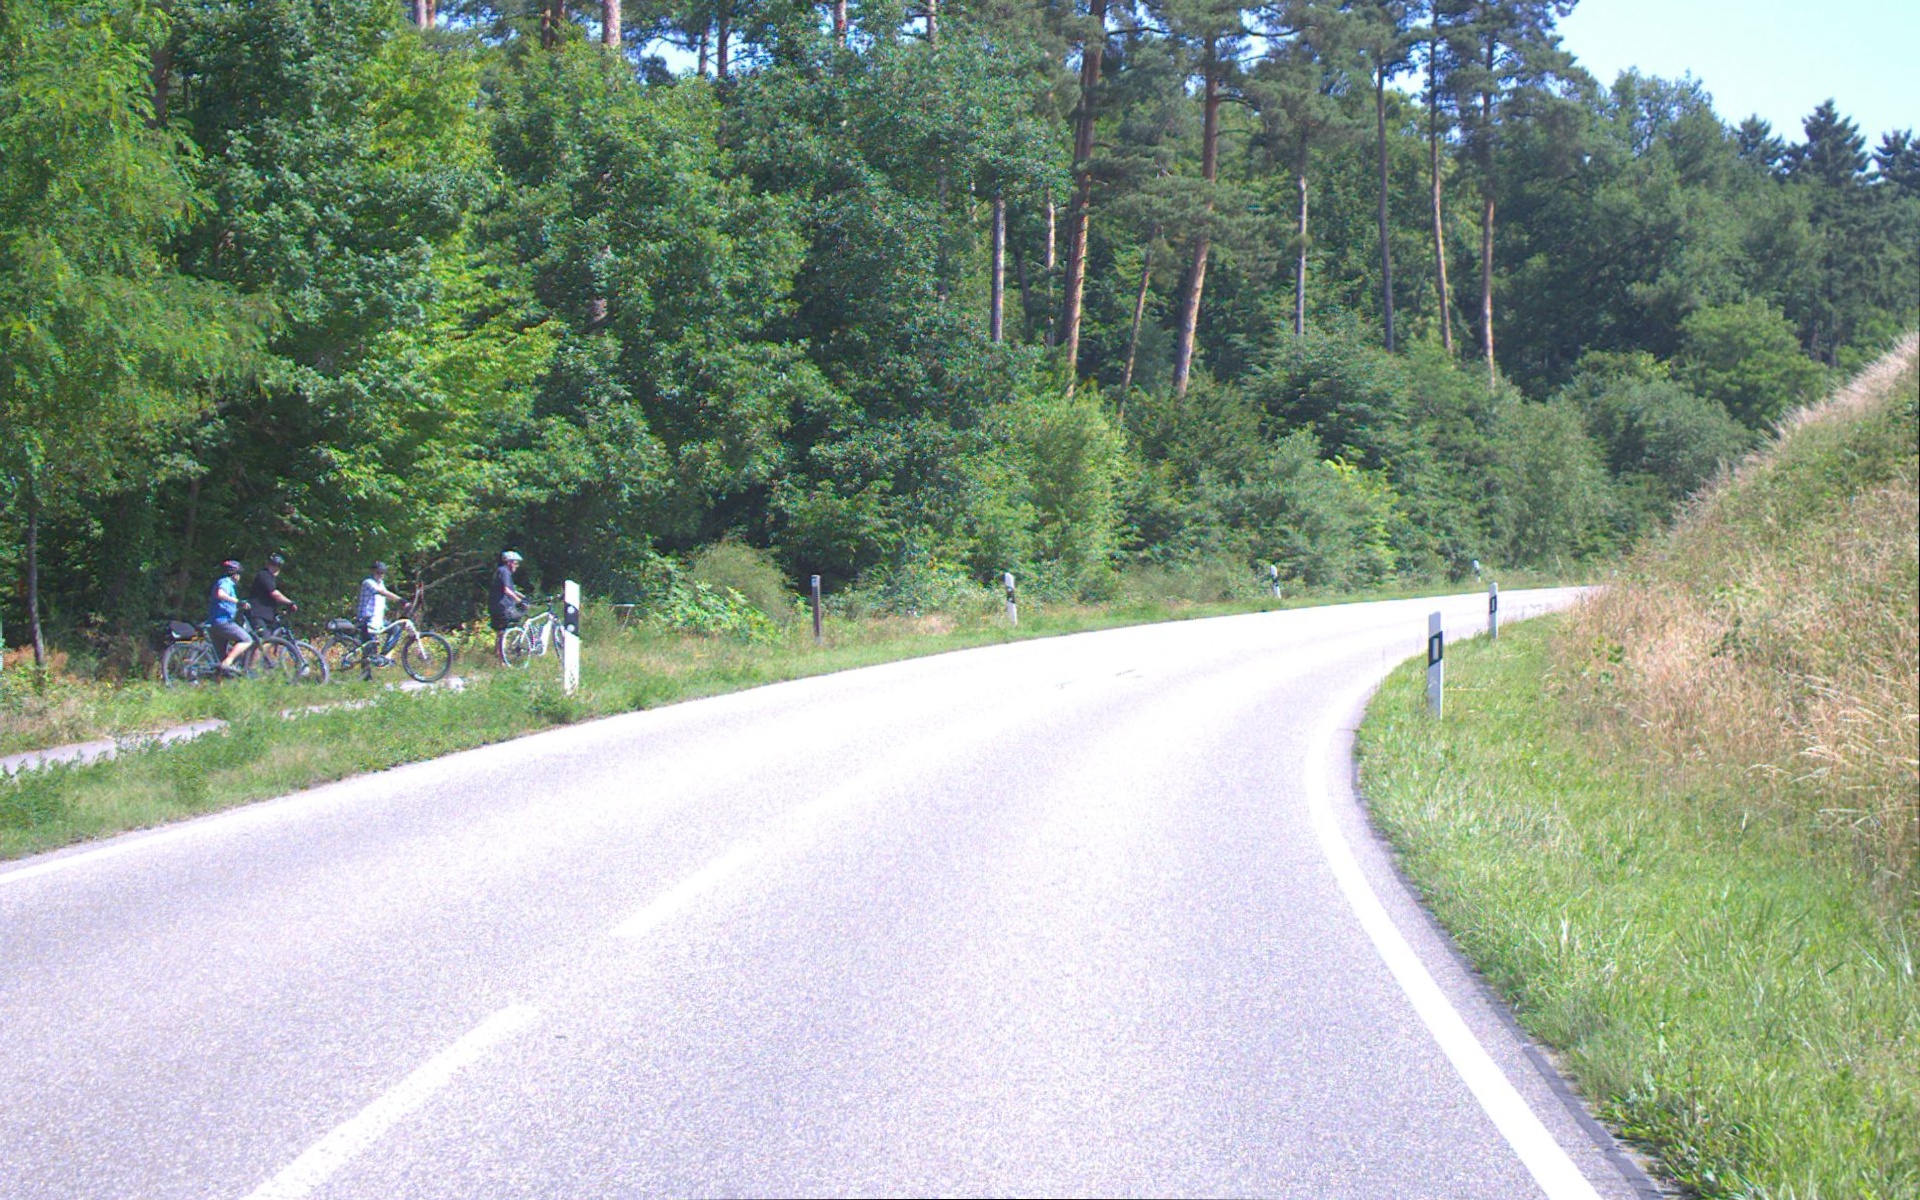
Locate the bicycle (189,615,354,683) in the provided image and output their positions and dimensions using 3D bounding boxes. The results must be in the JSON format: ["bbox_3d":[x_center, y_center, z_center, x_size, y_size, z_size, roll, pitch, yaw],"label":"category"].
[{"bbox_3d":[-8.713,0.619,43.550,1.979,0.827,0.606,1,0,-36],"label":"bicycle"}]

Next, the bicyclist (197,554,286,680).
[{"bbox_3d":[-8.867,0.207,42.428,0.869,1.540,0.606,1,0,-36],"label":"bicyclist"}]

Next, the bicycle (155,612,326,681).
[{"bbox_3d":[-8.872,0.571,42.420,1.979,0.827,0.606,1,0,-36],"label":"bicycle"}]

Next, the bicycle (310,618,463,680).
[{"bbox_3d":[-7.881,0.671,47.292,1.978,0.827,0.606,1,0,-29],"label":"bicycle"}]

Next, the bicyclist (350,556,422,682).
[{"bbox_3d":[-7.892,0.258,47.274,0.787,1.713,0.606,1,0,-29],"label":"bicyclist"}]

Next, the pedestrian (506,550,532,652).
[{"bbox_3d":[-6.670,0.015,52.006,0.284,1.533,0.390,-1,1,5],"label":"pedestrian"}]

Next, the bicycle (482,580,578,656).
[{"bbox_3d":[-6.495,0.264,51.915,0.581,1.082,1.444,2,3,39],"label":"bicycle"}]

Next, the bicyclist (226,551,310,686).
[{"bbox_3d":[-8.781,0.232,43.634,0.848,1.695,0.606,1,0,-36],"label":"bicyclist"}]
